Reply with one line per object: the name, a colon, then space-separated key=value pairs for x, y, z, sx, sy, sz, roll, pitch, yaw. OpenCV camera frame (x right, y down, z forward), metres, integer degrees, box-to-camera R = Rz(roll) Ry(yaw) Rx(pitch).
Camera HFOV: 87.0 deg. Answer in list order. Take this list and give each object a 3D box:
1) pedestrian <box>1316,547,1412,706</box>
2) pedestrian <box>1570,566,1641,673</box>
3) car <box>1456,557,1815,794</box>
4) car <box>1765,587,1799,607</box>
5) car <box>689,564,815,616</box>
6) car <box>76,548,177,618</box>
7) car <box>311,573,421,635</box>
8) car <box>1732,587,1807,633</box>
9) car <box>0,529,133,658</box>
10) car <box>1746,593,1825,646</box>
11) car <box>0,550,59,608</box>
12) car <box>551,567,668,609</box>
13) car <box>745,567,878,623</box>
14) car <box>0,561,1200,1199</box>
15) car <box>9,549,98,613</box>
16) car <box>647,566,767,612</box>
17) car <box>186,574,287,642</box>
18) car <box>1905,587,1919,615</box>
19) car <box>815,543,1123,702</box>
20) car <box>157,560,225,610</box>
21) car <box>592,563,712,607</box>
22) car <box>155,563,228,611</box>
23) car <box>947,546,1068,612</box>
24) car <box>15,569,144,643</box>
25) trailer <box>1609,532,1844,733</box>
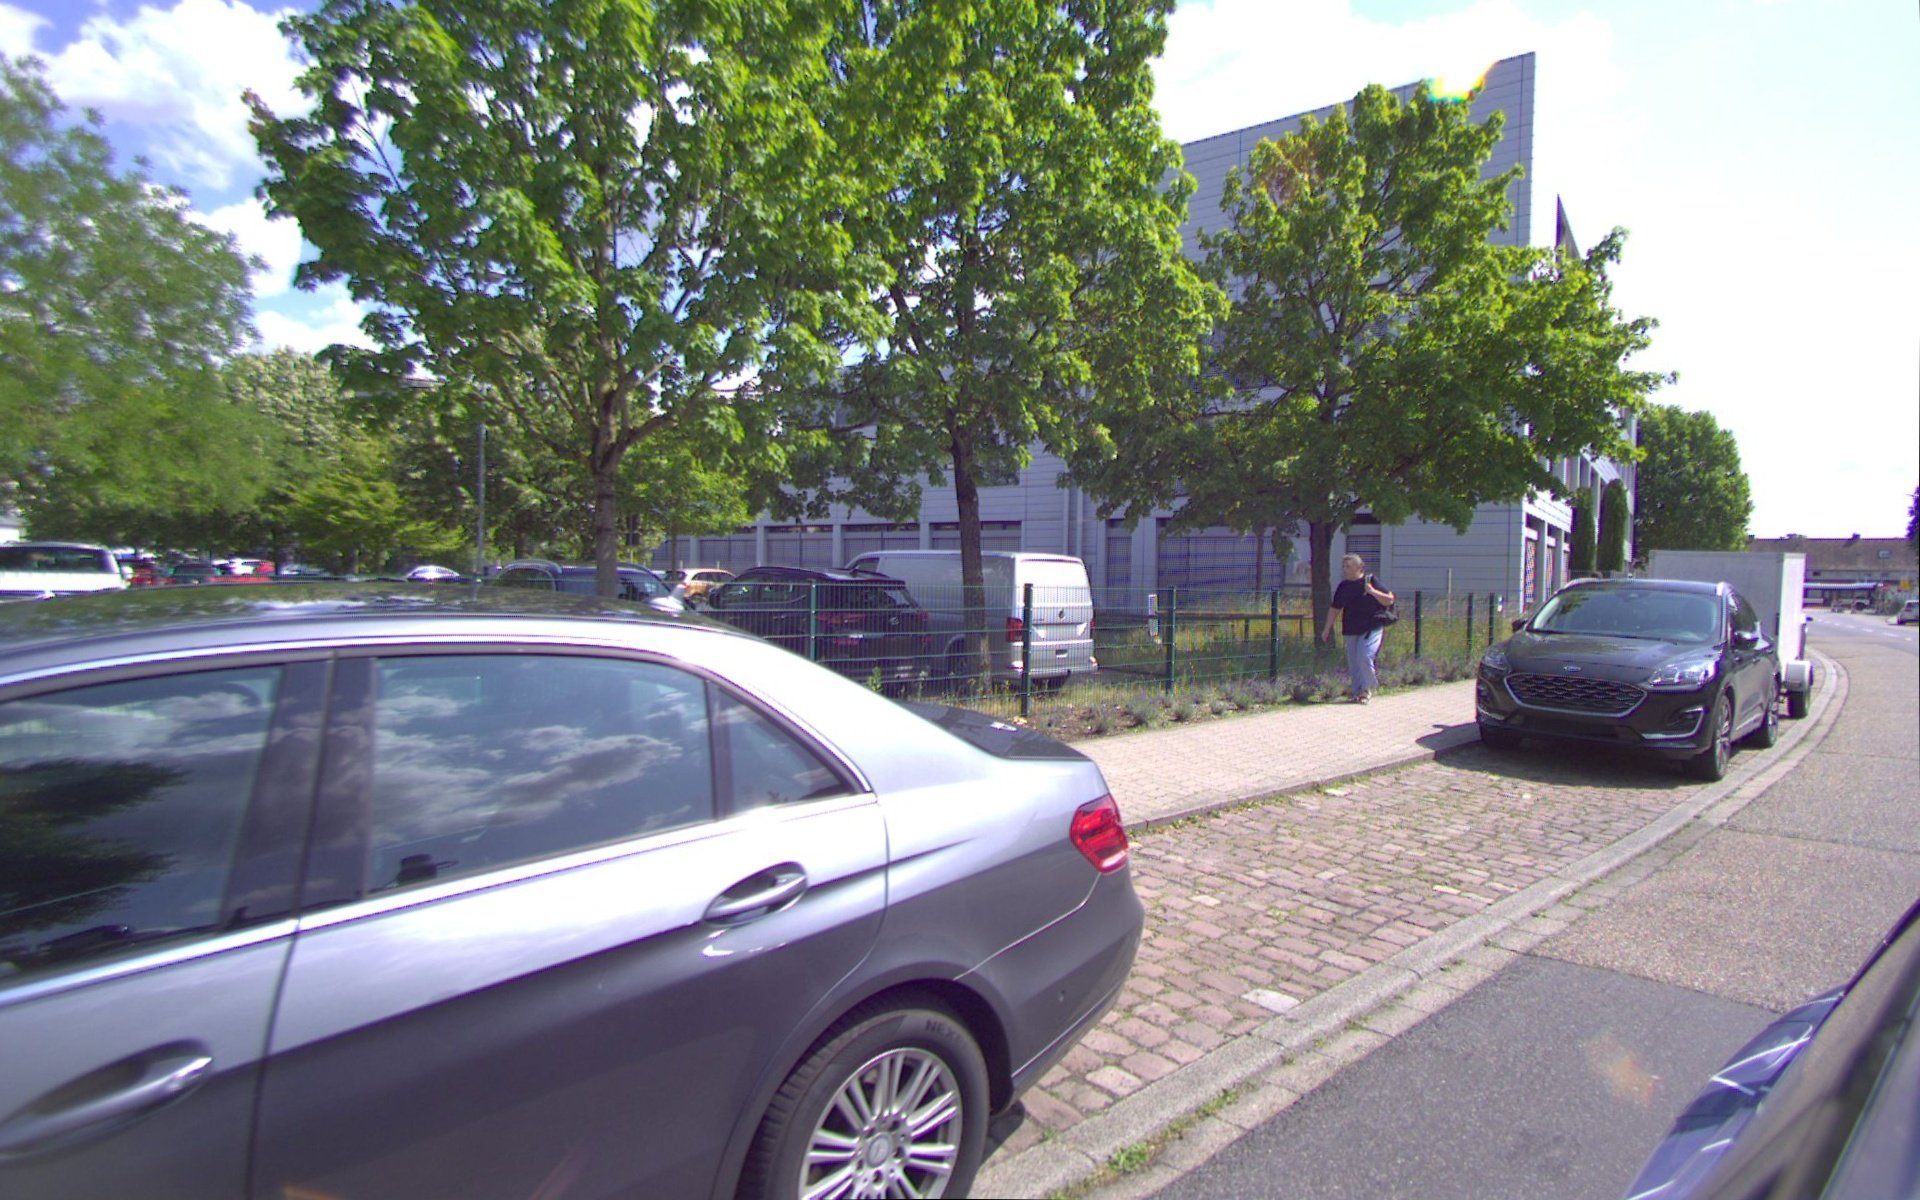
pedestrian: x=4.597 y=0.280 z=11.514 sx=0.721 sy=1.714 sz=0.727 roll=4 pitch=3 yaw=45
pedestrian: x=10.637 y=0.316 z=16.678 sx=0.727 sy=1.666 sz=0.571 roll=8 pitch=4 yaw=44
car: x=6.689 y=0.522 z=9.787 sx=4.632 sy=1.703 sz=1.863 roll=0 pitch=4 yaw=-44
car: x=60.680 y=-0.205 z=74.769 sx=1.652 sy=1.302 sz=3.694 roll=5 pitch=3 yaw=36
car: x=-7.070 y=-0.374 z=34.704 sx=1.945 sy=1.671 sz=3.949 roll=0 pitch=1 yaw=36
car: x=-33.767 y=-0.632 z=41.191 sx=2.697 sy=2.631 sz=5.798 roll=0 pitch=0 yaw=-35
car: x=-14.590 y=0.049 z=24.764 sx=1.805 sy=1.391 sz=3.997 roll=0 pitch=1 yaw=-38
car: x=31.459 y=0.350 z=39.433 sx=1.803 sy=1.522 sz=3.952 roll=6 pitch=3 yaw=33
car: x=-14.466 y=-0.163 z=16.185 sx=1.881 sy=1.789 sz=4.862 roll=1 pitch=1 yaw=-39
car: x=25.570 y=0.547 z=31.451 sx=1.670 sy=1.384 sz=4.102 roll=6 pitch=4 yaw=38
car: x=-30.585 y=-0.643 z=32.568 sx=1.963 sy=1.792 sz=3.999 roll=0 pitch=0 yaw=-36
car: x=-13.751 y=-0.500 z=39.866 sx=1.945 sy=1.567 sz=3.949 roll=0 pitch=1 yaw=36
car: x=-4.802 y=-0.176 z=33.273 sx=1.725 sy=1.701 sz=4.476 roll=0 pitch=1 yaw=36
car: x=-1.775 y=0.698 z=1.798 sx=4.785 sy=1.478 sz=1.845 roll=0 pitch=3 yaw=-42
car: x=-36.704 y=-0.724 z=41.108 sx=2.054 sy=2.388 sz=5.382 roll=0 pitch=0 yaw=-35
car: x=-9.133 y=-0.433 z=36.775 sx=1.944 sy=1.567 sz=3.952 roll=0 pitch=1 yaw=34
car: x=-16.372 y=0.124 z=22.839 sx=1.687 sy=1.391 sz=3.997 roll=0 pitch=1 yaw=-38
car: x=57.337 y=0.089 z=59.856 sx=1.668 sy=1.534 sz=3.693 roll=2 pitch=0 yaw=36
car: x=-0.011 y=0.203 z=15.000 sx=1.966 sy=1.990 sz=4.473 roll=2 pitch=1 yaw=-43
car: x=-23.717 y=-0.437 z=31.298 sx=1.558 sy=1.430 sz=3.298 roll=0 pitch=0 yaw=-35
car: x=-11.524 y=-0.569 z=38.047 sx=1.945 sy=1.567 sz=3.949 roll=0 pitch=1 yaw=36
car: x=-23.889 y=-0.422 z=31.427 sx=1.720 sy=1.391 sz=3.709 roll=0 pitch=1 yaw=-38
car: x=1.353 y=-0.547 z=27.588 sx=1.816 sy=1.668 sz=3.293 roll=0 pitch=0 yaw=36
car: x=-18.335 y=0.073 z=21.219 sx=1.823 sy=1.391 sz=3.997 roll=0 pitch=1 yaw=-38
trailer: x=9.746 y=0.298 z=12.752 sx=1.747 sy=2.092 sz=3.883 roll=6 pitch=4 yaw=45
